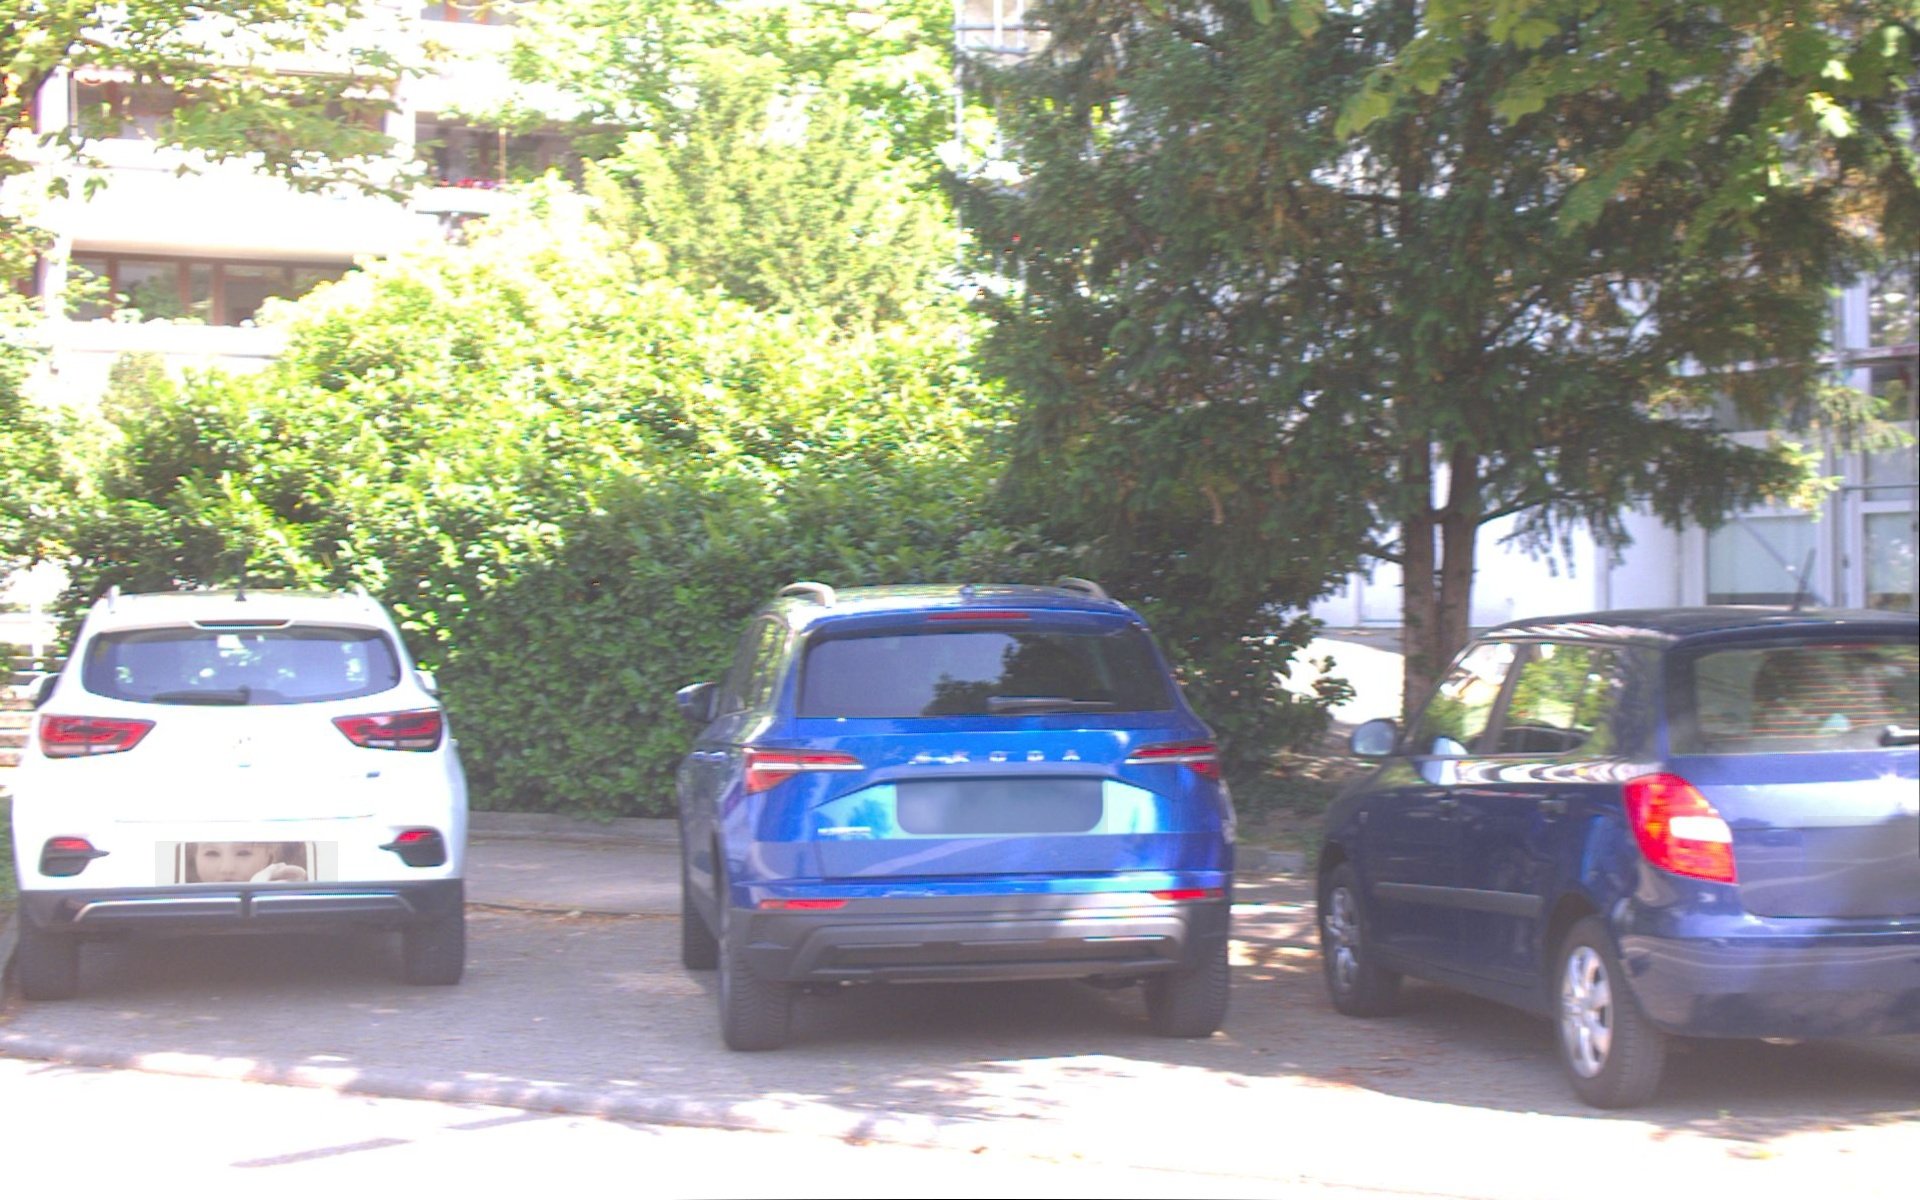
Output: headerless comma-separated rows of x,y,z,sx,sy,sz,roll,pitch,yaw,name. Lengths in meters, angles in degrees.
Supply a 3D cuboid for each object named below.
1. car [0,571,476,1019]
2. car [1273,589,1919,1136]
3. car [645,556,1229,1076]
-3.231,0.731,14.946,1.813,1.601,3.946,-3,0,-13,car
2.302,0.735,11.471,1.571,1.526,3.459,0,0,-11,car
-0.244,0.675,13.205,1.774,1.617,3.946,-1,1,-7,car
